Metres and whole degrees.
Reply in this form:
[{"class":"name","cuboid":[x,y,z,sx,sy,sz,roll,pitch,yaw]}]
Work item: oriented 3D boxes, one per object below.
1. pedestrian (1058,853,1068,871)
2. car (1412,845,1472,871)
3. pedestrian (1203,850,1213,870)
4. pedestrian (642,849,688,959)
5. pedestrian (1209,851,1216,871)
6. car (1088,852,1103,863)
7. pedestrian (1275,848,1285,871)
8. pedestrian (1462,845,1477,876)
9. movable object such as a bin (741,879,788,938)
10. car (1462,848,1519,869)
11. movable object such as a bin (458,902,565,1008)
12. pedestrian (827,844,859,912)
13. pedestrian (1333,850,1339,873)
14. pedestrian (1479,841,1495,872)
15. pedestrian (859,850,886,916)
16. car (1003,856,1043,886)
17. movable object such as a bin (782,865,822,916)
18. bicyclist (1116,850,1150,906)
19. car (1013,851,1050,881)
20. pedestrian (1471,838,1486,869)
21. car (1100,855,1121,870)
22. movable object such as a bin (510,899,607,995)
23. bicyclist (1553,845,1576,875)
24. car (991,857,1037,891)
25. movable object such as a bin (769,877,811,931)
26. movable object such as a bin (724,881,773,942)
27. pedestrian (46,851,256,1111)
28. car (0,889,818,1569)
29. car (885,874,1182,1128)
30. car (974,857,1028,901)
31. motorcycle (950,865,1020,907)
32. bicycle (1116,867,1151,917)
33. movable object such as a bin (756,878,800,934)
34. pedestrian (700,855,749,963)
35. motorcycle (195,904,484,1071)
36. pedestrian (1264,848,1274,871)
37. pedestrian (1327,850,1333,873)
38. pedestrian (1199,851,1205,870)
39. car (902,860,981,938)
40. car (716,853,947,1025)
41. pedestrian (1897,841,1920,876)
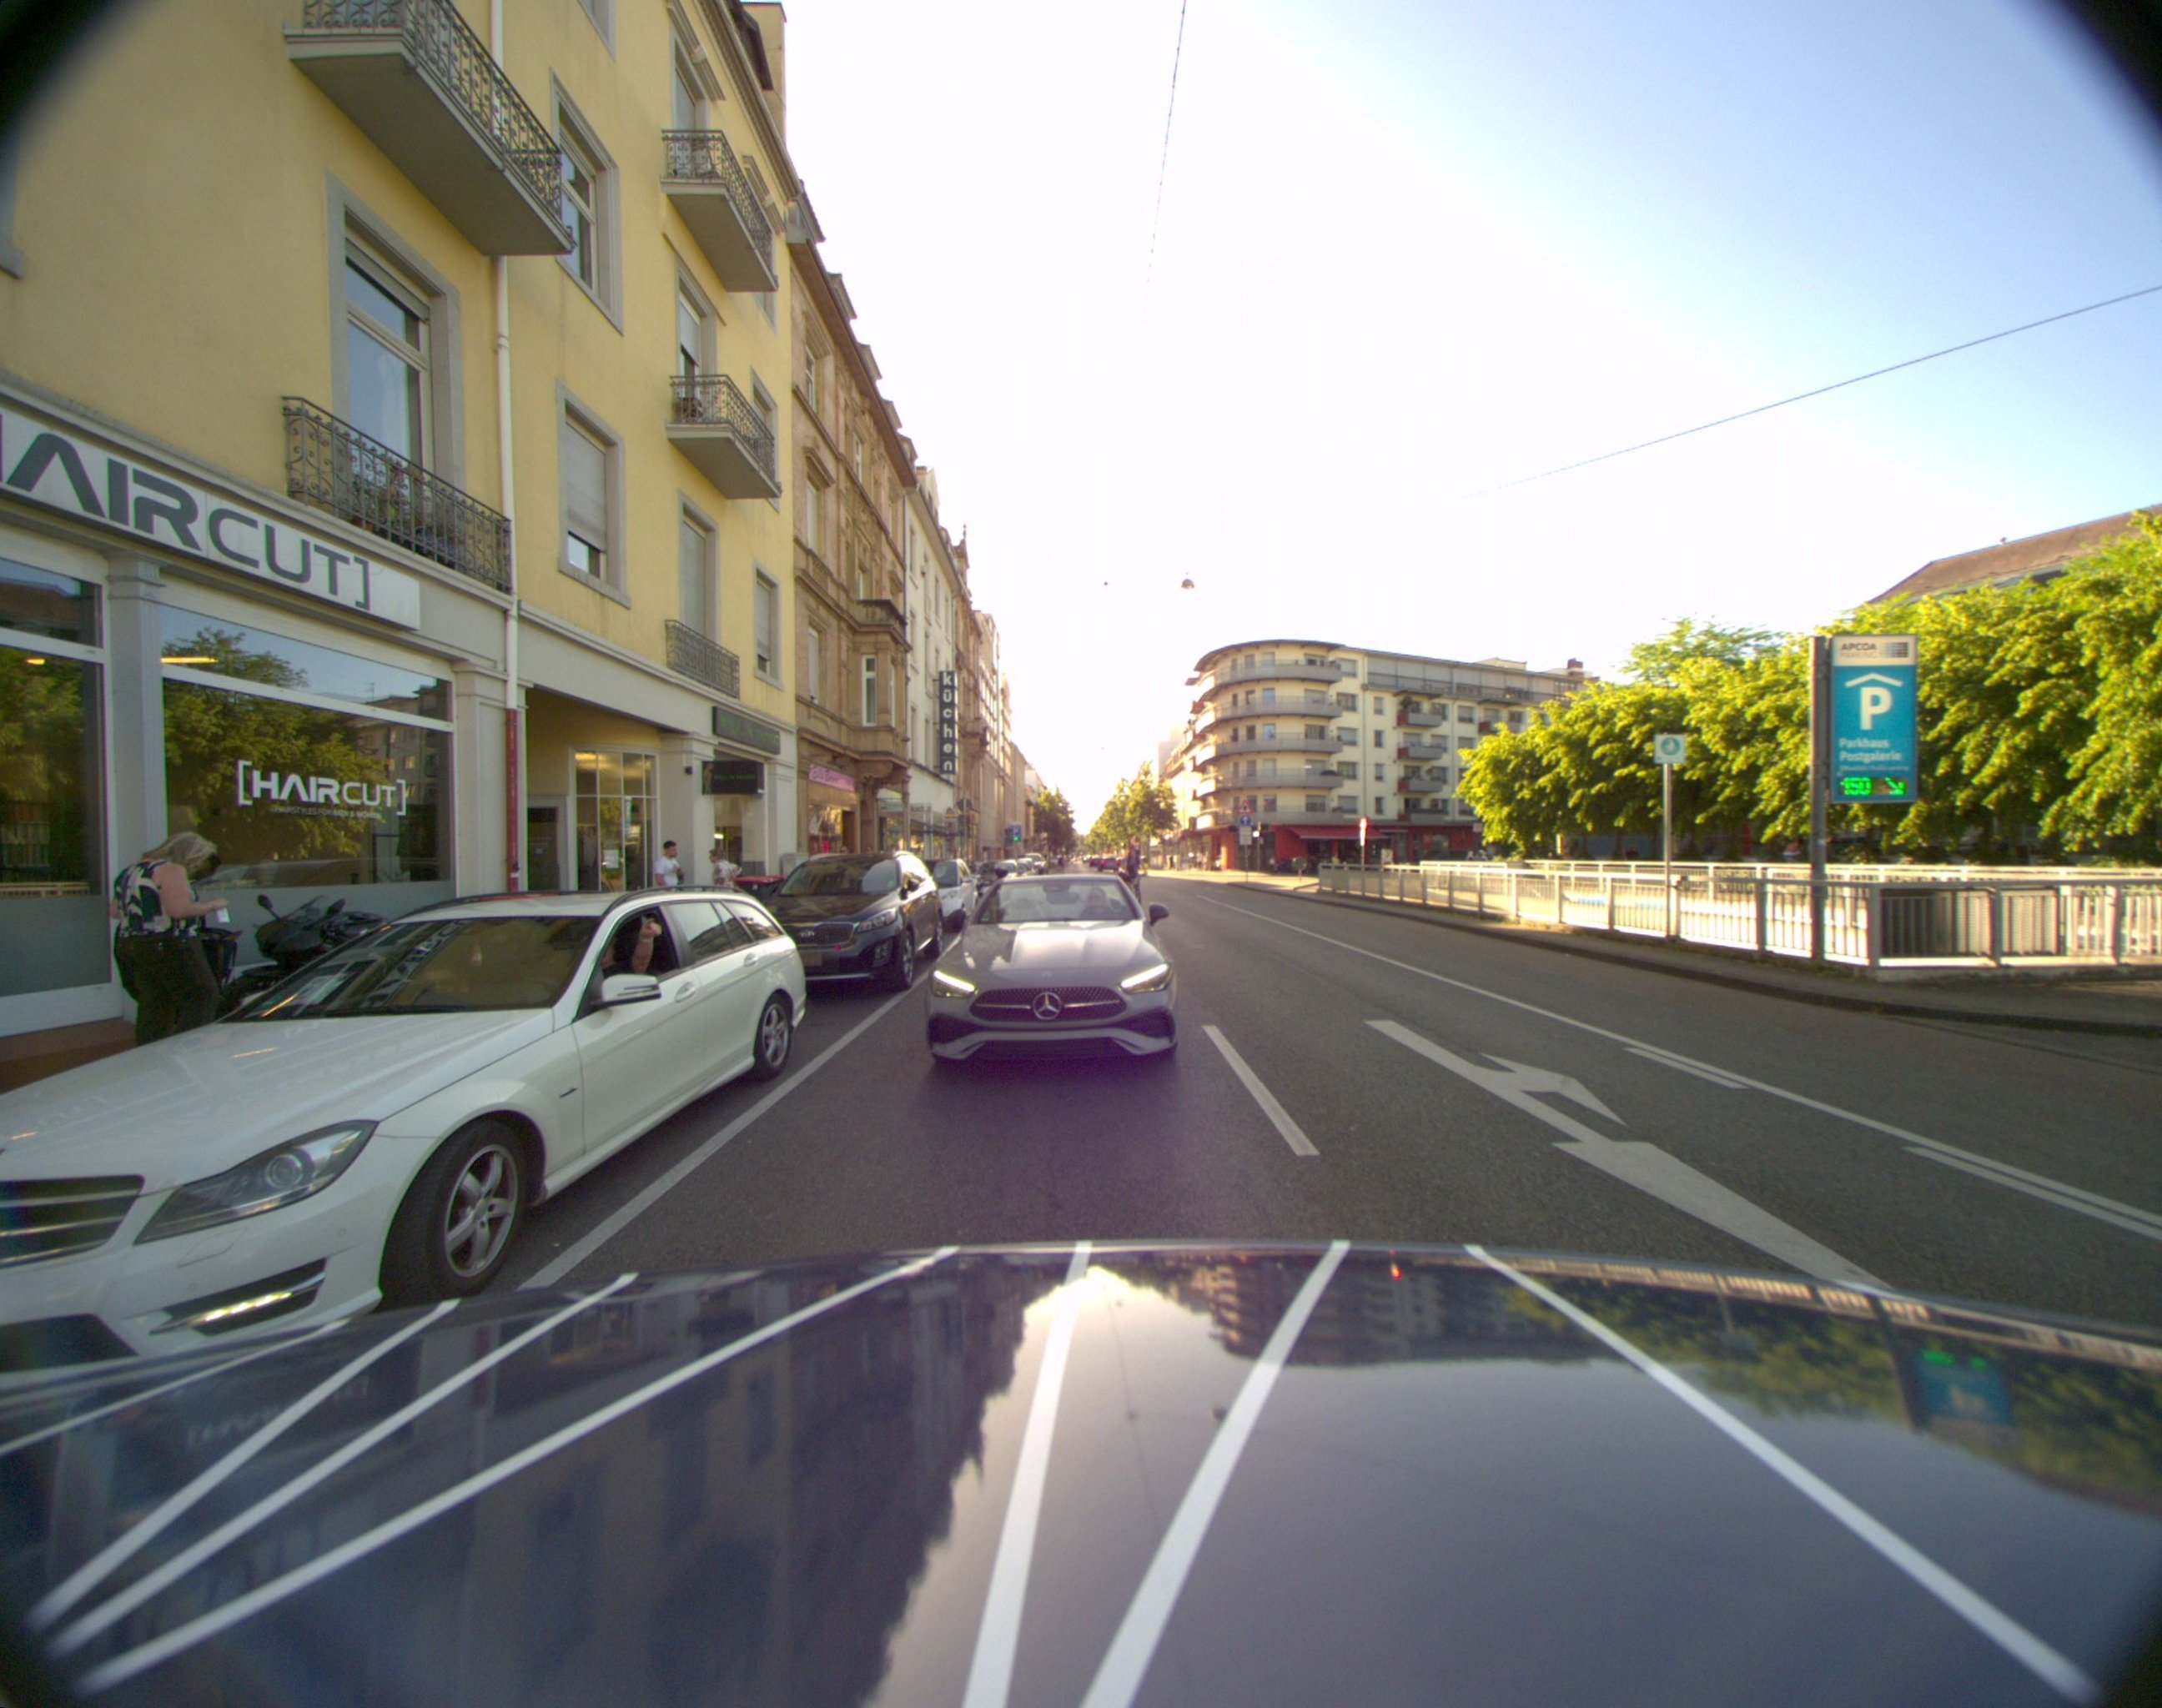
[{"class":"pedestrian","cuboid":[-1.637,0.731,68.831,0.774,1.606,0.696,-1,1,-3]},{"class":"car","cuboid":[29.084,0.309,61.218,4.432,1.901,1.951,-2,1,-24]},{"class":"pedestrian","cuboid":[10.483,0.467,62.731,0.570,1.612,0.793,-2,1,-3]},{"class":"pedestrian","cuboid":[-6.420,0.755,11.728,0.337,1.651,0.525,1,1,24]},{"class":"pedestrian","cuboid":[10.900,0.587,62.898,0.442,1.663,0.516,-2,1,-3]},{"class":"car","cuboid":[1.950,0.515,102.963,1.895,1.388,4.255,-1,0,0]},{"class":"pedestrian","cuboid":[15.295,0.424,58.320,0.575,1.698,0.642,-1,1,3]},{"class":"pedestrian","cuboid":[22.439,0.361,43.905,0.602,1.782,0.581,-3,2,-45]},{"class":"movable object such as a bin","cuboid":[-6.094,1.038,14.640,0.606,1.060,0.619,2,1,1]},{"class":"car","cuboid":[34.244,0.382,63.582,4.300,1.611,1.951,-2,1,-24]},{"class":"movable object such as a bin","cuboid":[-6.109,1.068,8.180,0.661,1.035,0.619,2,1,3]},{"class":"pedestrian","cuboid":[-5.868,0.586,18.788,0.618,1.623,0.463,-2,1,-4]},{"class":"pedestrian","cuboid":[18.644,0.539,55.520,0.270,1.658,0.362,-1,1,32]},{"class":"pedestrian","cuboid":[23.826,0.124,44.608,0.602,1.782,0.581,-3,1,-40]},{"class":"pedestrian","cuboid":[-5.202,0.709,18.931,0.516,1.623,0.413,-2,1,-32]},{"class":"car","cuboid":[-2.990,0.861,39.892,1.737,1.409,3.802,-1,0,0]},{"class":"movable object such as a bin","cuboid":[-6.063,0.785,16.530,0.606,1.060,0.619,2,1,1]},{"class":"bicyclist","cuboid":[1.369,0.619,20.182,0.798,1.426,1.008,-1,1,1]},{"class":"car","cuboid":[-2.992,0.691,46.521,1.895,1.680,4.049,-1,0,0]},{"class":"pedestrian","cuboid":[23.080,-0.047,44.160,0.602,1.782,0.581,-3,2,-45]},{"class":"car","cuboid":[2.767,0.773,71.848,1.806,1.388,3.926,-1,0,-1]},{"class":"movable object such as a bin","cuboid":[-6.058,1.058,8.838,0.669,1.019,0.619,2,1,3]},{"class":"bicyclist","cuboid":[27.021,0.337,42.472,0.973,1.605,0.715,-1,1,40]},{"class":"car","cuboid":[-3.070,0.891,35.444,1.737,1.409,3.802,-1,0,0]},{"class":"movable object such as a bin","cuboid":[-6.070,1.038,15.888,0.606,1.060,0.619,2,1,1]},{"class":"movable object such as a bin","cuboid":[-6.117,1.046,13.993,0.606,1.060,0.619,2,1,1]},{"class":"pedestrian","cuboid":[-6.090,0.791,5.007,0.698,1.623,0.532,0,1,-1]},{"class":"car","cuboid":[-3.073,1.038,4.083,1.743,1.438,4.463,-1,0,0]},{"class":"car","cuboid":[-0.291,0.990,7.009,1.848,1.440,4.373,-1,0,0]},{"class":"car","cuboid":[-3.045,0.901,29.534,1.737,1.509,4.164,-1,0,-2]},{"class":"motorcycle","cuboid":[-3.174,1.040,25.367,2.178,1.272,0.866,-2,1,-42]},{"class":"bicycle","cuboid":[1.375,0.975,20.119,0.798,1.226,1.773,-1,0,1]},{"class":"movable object such as a bin","cuboid":[-6.082,1.032,15.254,0.606,1.060,0.619,2,1,1]},{"class":"pedestrian","cuboid":[-5.584,0.835,11.905,0.594,1.651,0.450,0,1,-41]},{"class":"motorcycle","cuboid":[-6.227,1.050,6.580,0.551,1.085,2.009,0,0,-1]},{"class":"pedestrian","cuboid":[14.572,0.429,58.846,0.575,1.698,0.642,-1,1,3]},{"class":"pedestrian","cuboid":[18.228,0.552,55.634,0.322,1.658,0.362,-1,1,32]},{"class":"pedestrian","cuboid":[10.002,0.531,62.711,0.376,1.521,0.516,-2,1,-3]},{"class":"car","cuboid":[-2.991,0.924,16.715,1.275,1.509,2.794,-1,0,-2]},{"class":"car","cuboid":[-2.990,0.882,10.191,1.760,1.726,4.571,-1,0,-3]},{"class":"pedestrian","cuboid":[42.692,0.224,39.199,0.602,1.782,0.581,-2,1,-20]}]
